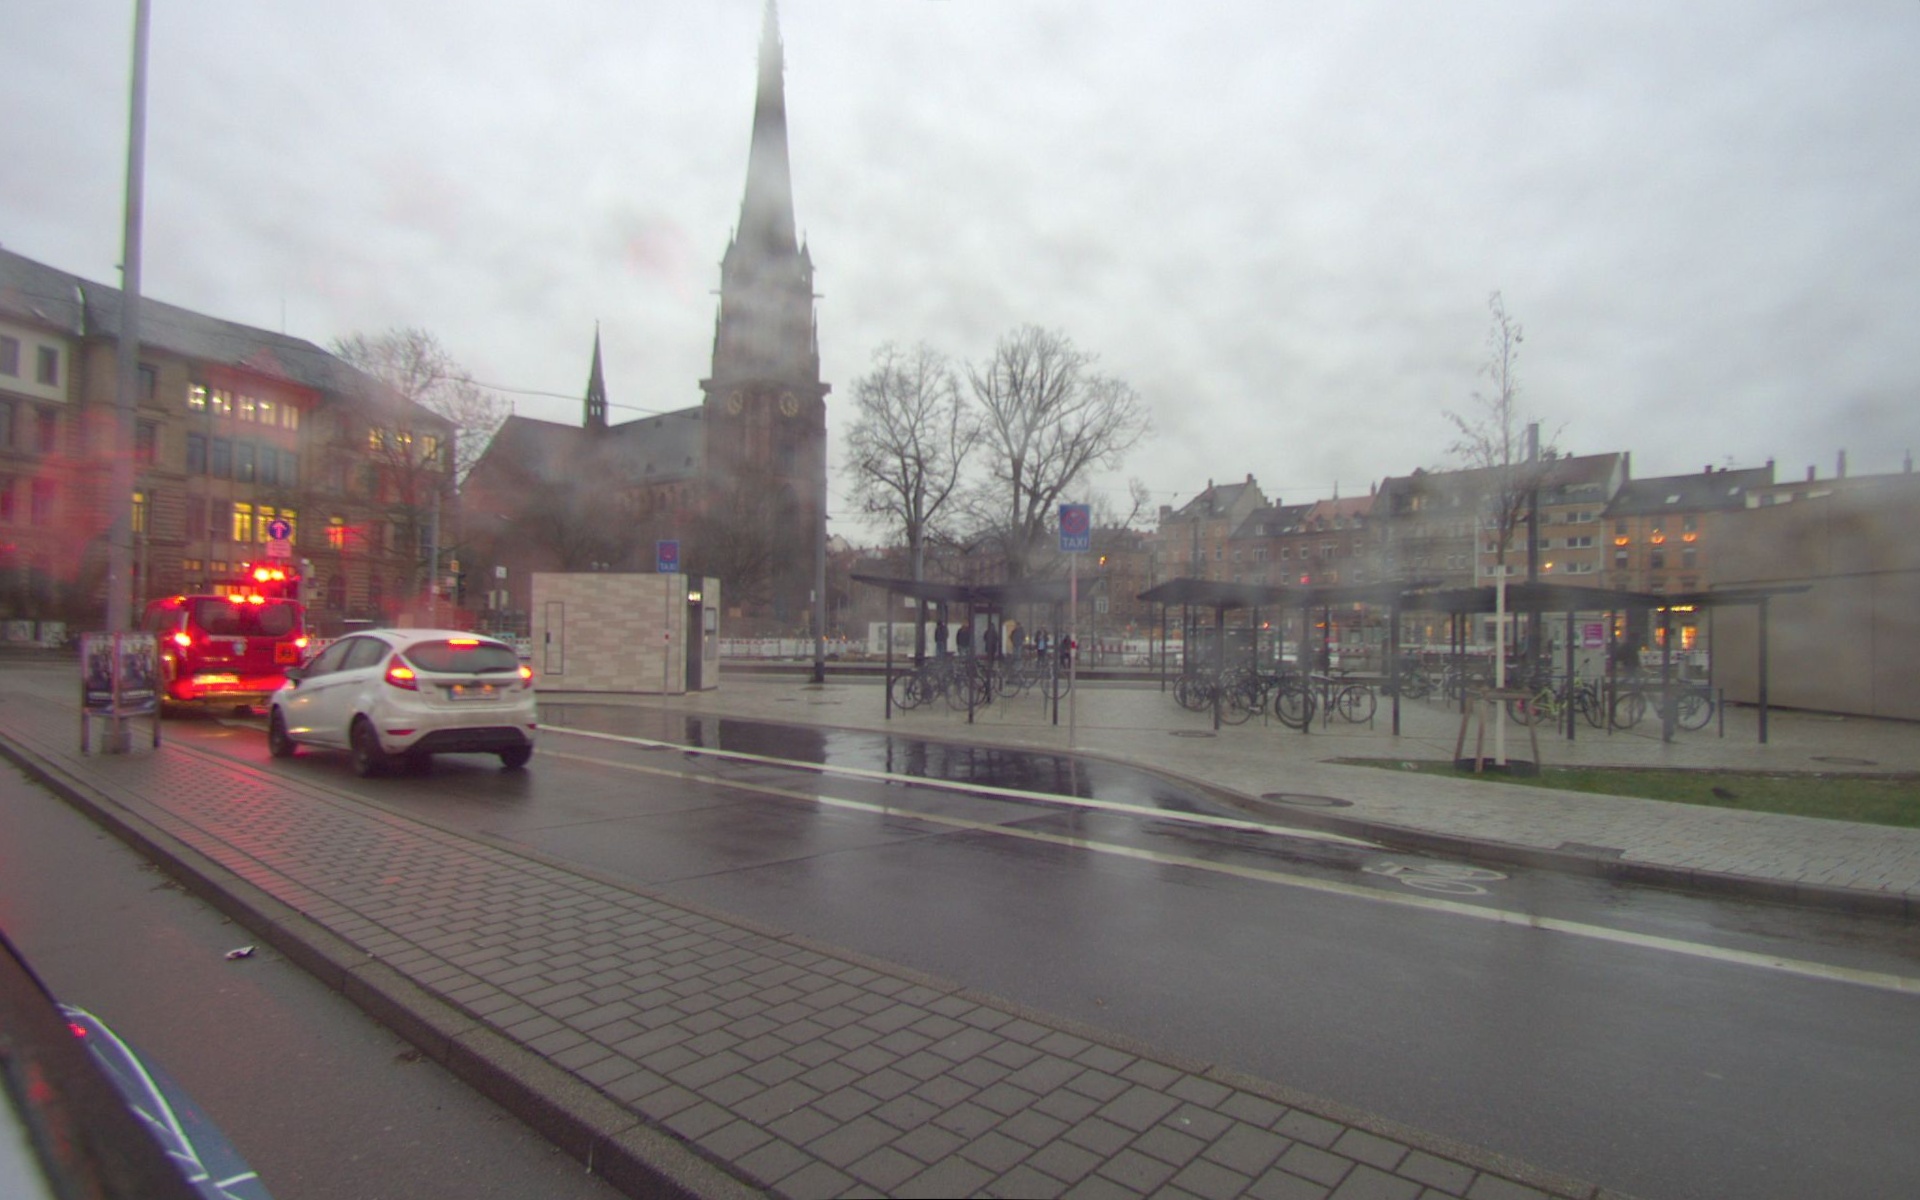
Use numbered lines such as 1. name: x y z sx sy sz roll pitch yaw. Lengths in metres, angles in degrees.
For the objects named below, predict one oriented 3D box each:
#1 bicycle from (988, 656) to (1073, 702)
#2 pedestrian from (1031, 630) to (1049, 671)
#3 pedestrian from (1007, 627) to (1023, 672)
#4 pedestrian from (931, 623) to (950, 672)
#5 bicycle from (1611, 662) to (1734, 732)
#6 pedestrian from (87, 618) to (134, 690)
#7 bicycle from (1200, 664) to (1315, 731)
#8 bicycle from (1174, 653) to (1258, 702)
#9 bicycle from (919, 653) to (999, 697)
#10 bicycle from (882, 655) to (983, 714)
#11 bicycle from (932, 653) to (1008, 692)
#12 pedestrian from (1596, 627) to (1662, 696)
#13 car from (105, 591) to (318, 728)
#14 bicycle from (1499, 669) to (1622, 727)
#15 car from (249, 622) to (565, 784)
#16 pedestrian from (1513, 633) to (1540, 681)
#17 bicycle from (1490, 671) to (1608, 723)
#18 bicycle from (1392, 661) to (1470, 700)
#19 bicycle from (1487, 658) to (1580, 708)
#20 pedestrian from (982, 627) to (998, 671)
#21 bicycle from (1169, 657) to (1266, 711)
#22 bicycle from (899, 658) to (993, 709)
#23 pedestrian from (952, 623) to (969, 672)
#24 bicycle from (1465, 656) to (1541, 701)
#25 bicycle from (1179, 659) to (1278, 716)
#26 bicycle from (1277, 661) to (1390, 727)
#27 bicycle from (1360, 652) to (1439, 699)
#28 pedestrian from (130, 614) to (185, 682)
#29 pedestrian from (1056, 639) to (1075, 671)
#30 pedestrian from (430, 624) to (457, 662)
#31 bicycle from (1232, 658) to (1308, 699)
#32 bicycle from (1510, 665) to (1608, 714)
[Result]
1. bicycle: 1.639 1.818 23.420 1.905 0.993 0.473 1 -1 11
2. pedestrian: 3.034 1.907 38.329 0.580 1.513 0.675 -1 0 -1
3. pedestrian: 2.068 1.852 38.110 0.543 1.648 0.571 -1 0 -1
4. pedestrian: -0.741 1.808 38.373 0.660 1.808 0.827 -1 0 -2
5. bicycle: 12.689 1.722 18.042 1.731 1.165 0.617 1 -1 1
6. pedestrian: -21.012 1.330 25.046 0.786 1.736 0.675 3 -3 -38
7. bicycle: 5.256 1.717 17.953 1.905 1.078 0.473 1 -1 11
8. bicycle: 6.063 1.826 24.037 1.905 1.078 0.473 1 -1 11
9. bicycle: -0.015 1.825 24.866 1.905 0.993 0.473 1 -1 11
10. bicycle: -0.539 1.650 19.864 1.905 1.078 0.473 1 -1 11
11. bicycle: 0.271 1.865 26.123 1.905 0.917 0.473 1 -1 11
12. pedestrian: 17.566 1.611 26.603 1.054 1.778 1.009 0 -3 6
13. car: -13.187 0.993 17.729 4.640 2.086 1.904 -1 -4 40
14. bicycle: 11.126 1.811 18.781 1.905 0.983 0.473 1 -1 11
15. car: -6.150 1.026 11.121 3.710 1.459 1.722 -1 -4 39
16. pedestrian: 19.912 2.001 35.584 0.694 1.679 0.526 0 -3 15
17. bicycle: 11.367 1.860 19.568 1.905 0.898 0.473 1 -1 11
18. bicycle: 11.621 1.989 24.988 1.672 0.898 0.474 1 -1 5
19. bicycle: 13.252 1.906 23.414 1.810 1.081 0.474 1 -1 8
20. pedestrian: 1.148 1.856 38.648 0.556 1.664 0.540 -1 0 -1
21. bicycle: 5.430 1.770 21.398 1.899 1.078 0.474 1 -1 2
22. bicycle: -0.288 1.731 21.101 1.905 0.993 0.473 1 -1 11
23. pedestrian: 0.004 1.799 38.575 0.619 1.808 0.672 -1 0 -1
24. bicycle: 13.232 1.913 24.661 1.551 1.044 0.521 1 -1 1
25. bicycle: 5.444 1.772 20.614 1.905 1.078 0.473 1 -1 11
26. bicycle: 6.945 1.732 18.863 1.905 1.129 0.473 1 -1 11
27. bicycle: 11.184 1.922 25.799 1.780 1.116 0.473 1 -1 11
28. pedestrian: -23.086 1.366 29.124 0.670 1.915 0.991 0 -3 26
29. pedestrian: 3.980 2.069 38.321 0.610 1.165 0.806 -1 0 -1
30. pedestrian: -25.355 2.126 49.691 0.886 1.830 0.673 1 -2 3
31. bicycle: 7.662 1.939 25.067 1.729 0.946 0.474 1 -1 7
32. bicycle: 12.900 1.917 21.827 1.751 0.963 0.473 1 -1 11
